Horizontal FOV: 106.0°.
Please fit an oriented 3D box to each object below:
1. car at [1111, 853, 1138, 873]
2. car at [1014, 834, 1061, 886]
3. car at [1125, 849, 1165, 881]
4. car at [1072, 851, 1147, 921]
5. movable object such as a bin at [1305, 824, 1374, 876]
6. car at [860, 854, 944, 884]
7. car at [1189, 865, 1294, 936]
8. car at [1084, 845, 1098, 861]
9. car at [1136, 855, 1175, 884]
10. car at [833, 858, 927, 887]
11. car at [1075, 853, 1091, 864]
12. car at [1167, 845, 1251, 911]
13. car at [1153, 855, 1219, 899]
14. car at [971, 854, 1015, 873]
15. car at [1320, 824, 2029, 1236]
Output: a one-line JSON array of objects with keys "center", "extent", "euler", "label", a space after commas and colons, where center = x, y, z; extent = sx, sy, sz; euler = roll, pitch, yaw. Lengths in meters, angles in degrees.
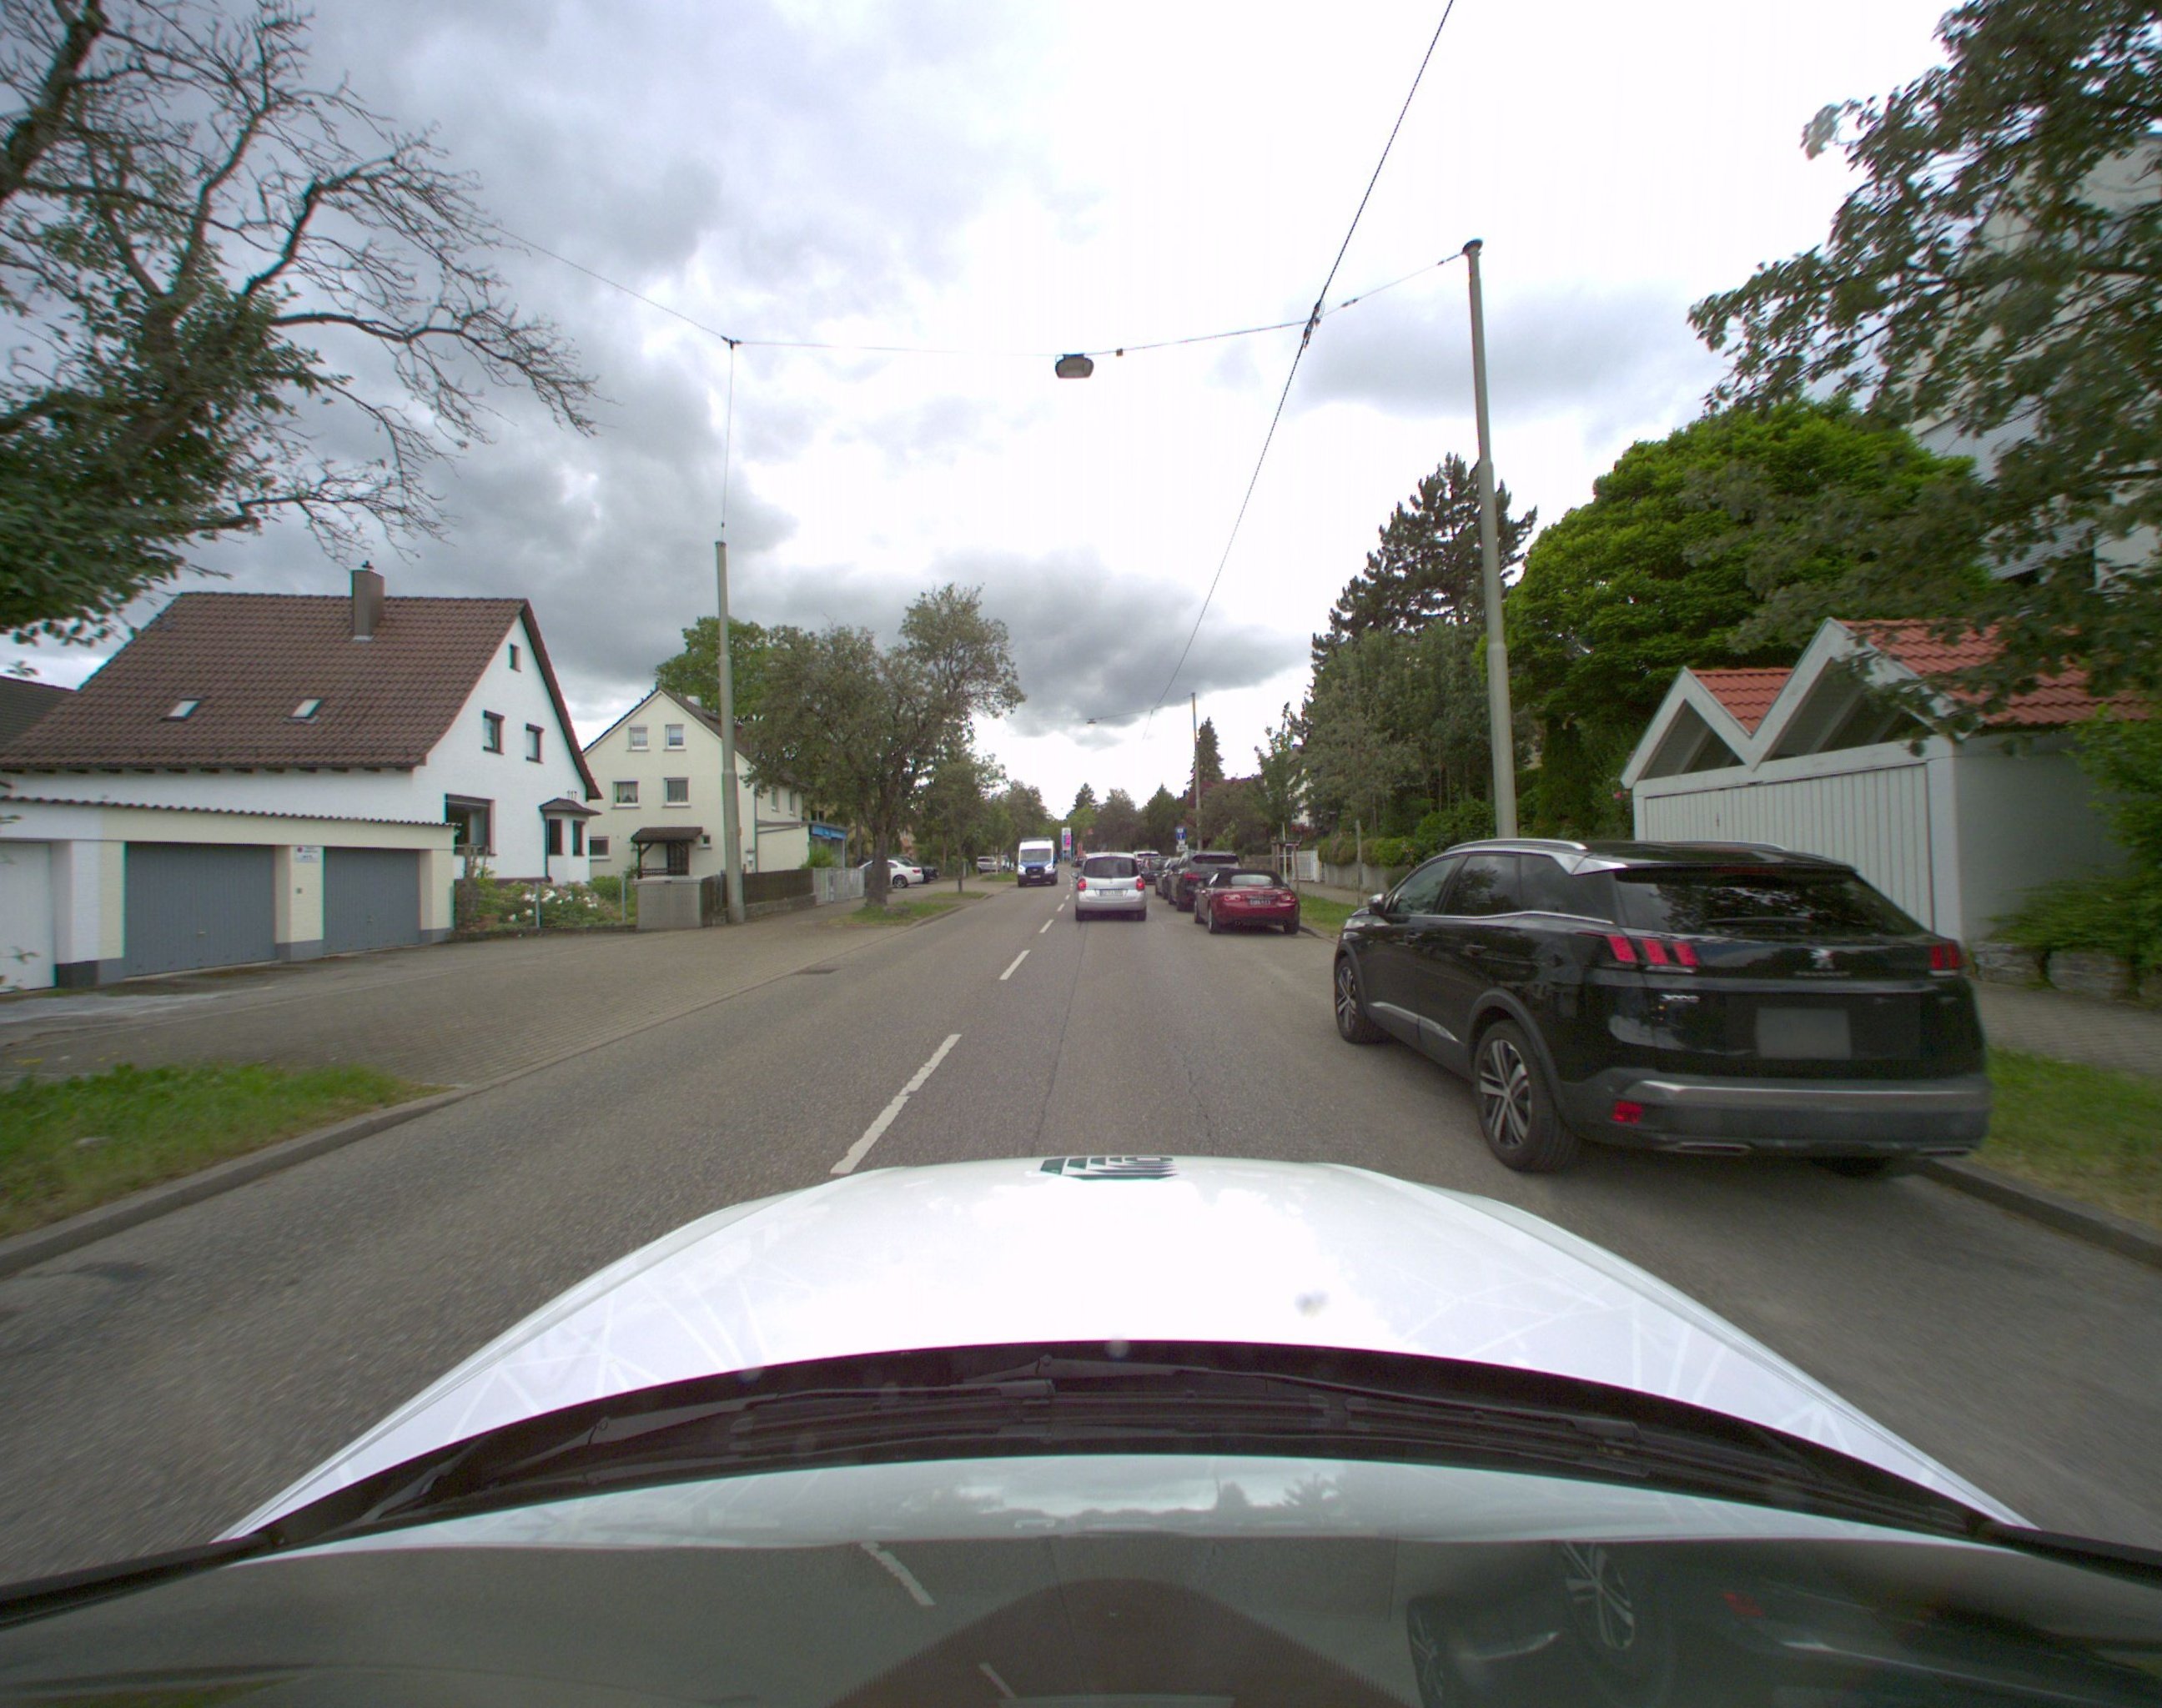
[{"center": [3.313, 0.675, 62.821], "extent": [1.623, 1.452, 3.871], "euler": [-1, 0, -3], "label": "car"}, {"center": [-2.312, 0.316, 44.694], "extent": [2.066, 2.582, 5.300], "euler": [-3, 0, 0], "label": "car"}, {"center": [3.658, 0.612, 47.397], "extent": [1.795, 1.778, 4.700], "euler": [0, 0, -3], "label": "car"}, {"center": [0.710, 0.706, 19.951], "extent": [1.673, 1.560, 3.514], "euler": [-1, 0, 2], "label": "car"}, {"center": [10.238, -0.143, 32.313], "extent": [2.306, 2.014, 1.341], "euler": [0, -1, -4], "label": "movable object such as a bin"}, {"center": [-10.171, 0.844, 46.455], "extent": [4.317, 1.618, 1.974], "euler": [0, -1, 1], "label": "car"}, {"center": [3.198, 0.882, 16.876], "extent": [1.476, 1.236, 3.885], "euler": [1, 0, 1], "label": "car"}, {"center": [1.918, -0.125, 154.245], "extent": [2.277, 2.911, 5.270], "euler": [0, 0, -5], "label": "car"}, {"center": [3.796, 0.772, 42.127], "extent": [1.554, 1.443, 3.503], "euler": [0, 0, -3], "label": "car"}, {"center": [-9.989, 0.911, 40.726], "extent": [4.272, 1.368, 1.812], "euler": [1, -1, -6], "label": "car"}, {"center": [0.229, 0.591, 108.758], "extent": [1.694, 1.506, 3.963], "euler": [-1, 0, -7], "label": "car"}, {"center": [3.529, 0.615, 23.234], "extent": [1.823, 1.712, 4.551], "euler": [0, 0, 2], "label": "car"}, {"center": [3.696, 0.758, 29.307], "extent": [1.824, 1.457, 4.550], "euler": [0, 0, 0], "label": "car"}, {"center": [-8.424, 0.913, 78.279], "extent": [4.075, 1.706, 1.746], "euler": [-1, 0, -2], "label": "car"}, {"center": [2.933, 0.695, 5.258], "extent": [1.681, 1.609, 4.110], "euler": [0, 0, 1], "label": "car"}]
